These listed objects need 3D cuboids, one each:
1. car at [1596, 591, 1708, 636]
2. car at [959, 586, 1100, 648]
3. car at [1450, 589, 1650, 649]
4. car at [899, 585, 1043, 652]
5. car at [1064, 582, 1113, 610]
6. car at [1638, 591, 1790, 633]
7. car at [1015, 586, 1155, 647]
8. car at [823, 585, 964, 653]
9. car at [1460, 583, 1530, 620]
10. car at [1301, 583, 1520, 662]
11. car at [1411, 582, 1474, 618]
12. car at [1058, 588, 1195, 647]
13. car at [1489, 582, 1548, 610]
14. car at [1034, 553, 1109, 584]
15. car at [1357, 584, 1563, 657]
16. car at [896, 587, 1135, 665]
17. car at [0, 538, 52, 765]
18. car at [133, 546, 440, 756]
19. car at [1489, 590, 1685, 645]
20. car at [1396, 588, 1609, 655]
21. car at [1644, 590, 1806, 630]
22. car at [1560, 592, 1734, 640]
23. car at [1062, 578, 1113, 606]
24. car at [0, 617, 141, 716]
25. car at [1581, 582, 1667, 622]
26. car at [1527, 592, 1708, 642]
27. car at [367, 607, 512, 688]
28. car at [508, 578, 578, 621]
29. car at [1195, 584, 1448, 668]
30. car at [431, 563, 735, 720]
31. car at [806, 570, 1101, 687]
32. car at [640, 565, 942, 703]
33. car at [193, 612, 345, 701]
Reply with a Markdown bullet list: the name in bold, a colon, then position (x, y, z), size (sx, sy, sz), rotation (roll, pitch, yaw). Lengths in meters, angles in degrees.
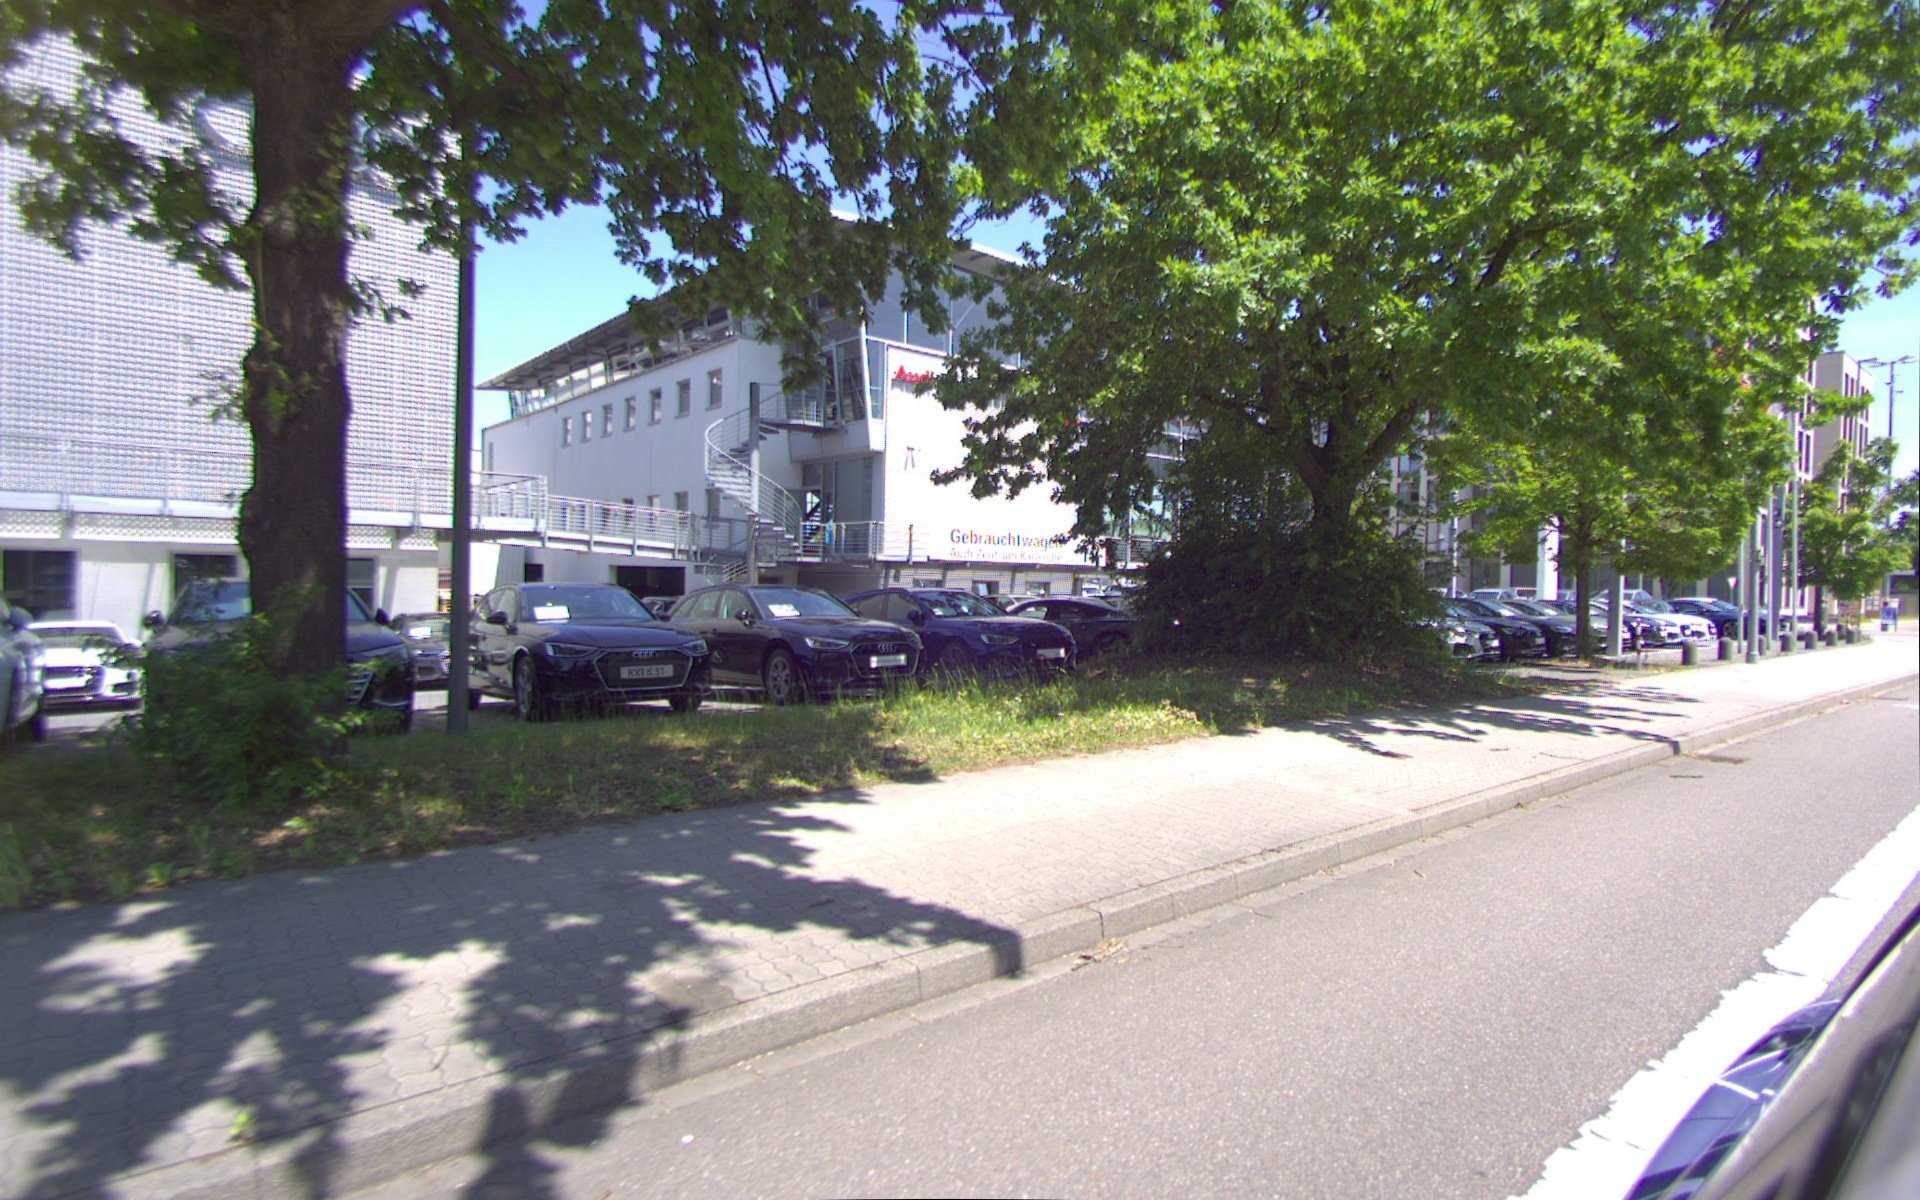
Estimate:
- **car**: position (23.588, 0.434, 34.446), size (4.578, 1.438, 1.867), rotation (0, -1, -38)
- **car**: position (1.936, 0.467, 29.205), size (1.817, 1.675, 3.993), rotation (0, -1, -40)
- **car**: position (15.185, 0.460, 26.212), size (1.836, 1.423, 4.109), rotation (0, -1, -40)
- **car**: position (0.240, 0.485, 27.745), size (1.817, 1.675, 3.993), rotation (0, -1, -40)
- **car**: position (7.821, -0.282, 61.851), size (1.812, 1.590, 4.006), rotation (1, 1, -10)
- **car**: position (27.142, 0.427, 36.528), size (1.836, 1.408, 4.104), rotation (0, -1, -40)
- **car**: position (3.707, 0.536, 30.525), size (1.817, 1.676, 3.992), rotation (0, -3, -40)
- **car**: position (-1.773, 0.460, 25.904), size (1.611, 1.604, 3.906), rotation (0, -1, -40)
- **car**: position (25.513, 0.065, 48.173), size (3.933, 1.675, 1.845), rotation (0, -1, -45)
- **car**: position (9.144, 0.432, 20.743), size (1.801, 1.472, 3.688), rotation (0, -1, -40)
- **car**: position (23.842, 0.016, 49.967), size (3.755, 1.637, 1.637), rotation (2, 0, -45)
- **car**: position (5.156, 0.590, 31.788), size (1.817, 1.676, 3.992), rotation (0, -3, -40)
- **car**: position (40.302, -0.315, 73.158), size (1.886, 1.910, 4.926), rotation (1, 1, 5)
- **car**: position (7.623, -2.189, 69.620), size (1.881, 1.991, 5.243), rotation (0, 2, -42)
- **car**: position (11.013, 0.437, 22.468), size (1.801, 1.472, 3.688), rotation (0, -1, -40)
- **car**: position (1.048, 0.504, 19.689), size (4.382, 1.332, 1.850), rotation (-1, -2, 3)
- **car**: position (-8.033, 0.396, 7.396), size (1.883, 1.425, 4.228), rotation (0, -2, -40)
- **car**: position (-6.231, 0.416, 9.130), size (1.883, 1.425, 4.228), rotation (0, -2, -40)
- **car**: position (17.197, 0.459, 27.923), size (1.836, 1.408, 4.234), rotation (0, -1, -40)
- **car**: position (12.928, 0.488, 24.313), size (1.836, 1.472, 4.109), rotation (0, -1, -40)
- **car**: position (28.826, 0.371, 38.271), size (1.836, 1.408, 4.601), rotation (0, -1, -40)
- **car**: position (21.232, 0.467, 31.396), size (1.841, 1.382, 4.104), rotation (0, -1, -40)
- **car**: position (7.777, -0.527, 62.126), size (1.653, 1.522, 3.811), rotation (-1, 3, -18)
- **car**: position (-14.383, 1.027, 16.397), size (1.702, 1.382, 4.228), rotation (0, -2, -40)
- **car**: position (29.080, 0.056, 44.280), size (4.423, 1.577, 1.873), rotation (-2, 3, -39)
- **car**: position (19.248, 0.471, 29.745), size (1.836, 1.366, 4.107), rotation (0, -1, -40)
- **car**: position (-10.158, 0.893, 19.604), size (1.664, 1.359, 4.075), rotation (-1, -1, -40)
- **car**: position (-17.522, -0.004, 42.437), size (1.611, 1.740, 3.906), rotation (0, -1, -40)
- **car**: position (6.759, 0.456, 19.298), size (1.784, 1.419, 4.240), rotation (1, -1, -40)
- **car**: position (-4.288, 0.434, 11.093), size (1.846, 1.373, 4.228), rotation (0, -2, -40)
- **car**: position (-0.264, 0.415, 14.439), size (1.801, 1.411, 4.457), rotation (0, -2, -40)
- **car**: position (-2.285, 0.424, 12.688), size (1.792, 1.425, 4.332), rotation (0, -2, -40)
- **car**: position (-12.481, 0.970, 18.171), size (1.883, 1.379, 4.228), rotation (0, -2, -40)
